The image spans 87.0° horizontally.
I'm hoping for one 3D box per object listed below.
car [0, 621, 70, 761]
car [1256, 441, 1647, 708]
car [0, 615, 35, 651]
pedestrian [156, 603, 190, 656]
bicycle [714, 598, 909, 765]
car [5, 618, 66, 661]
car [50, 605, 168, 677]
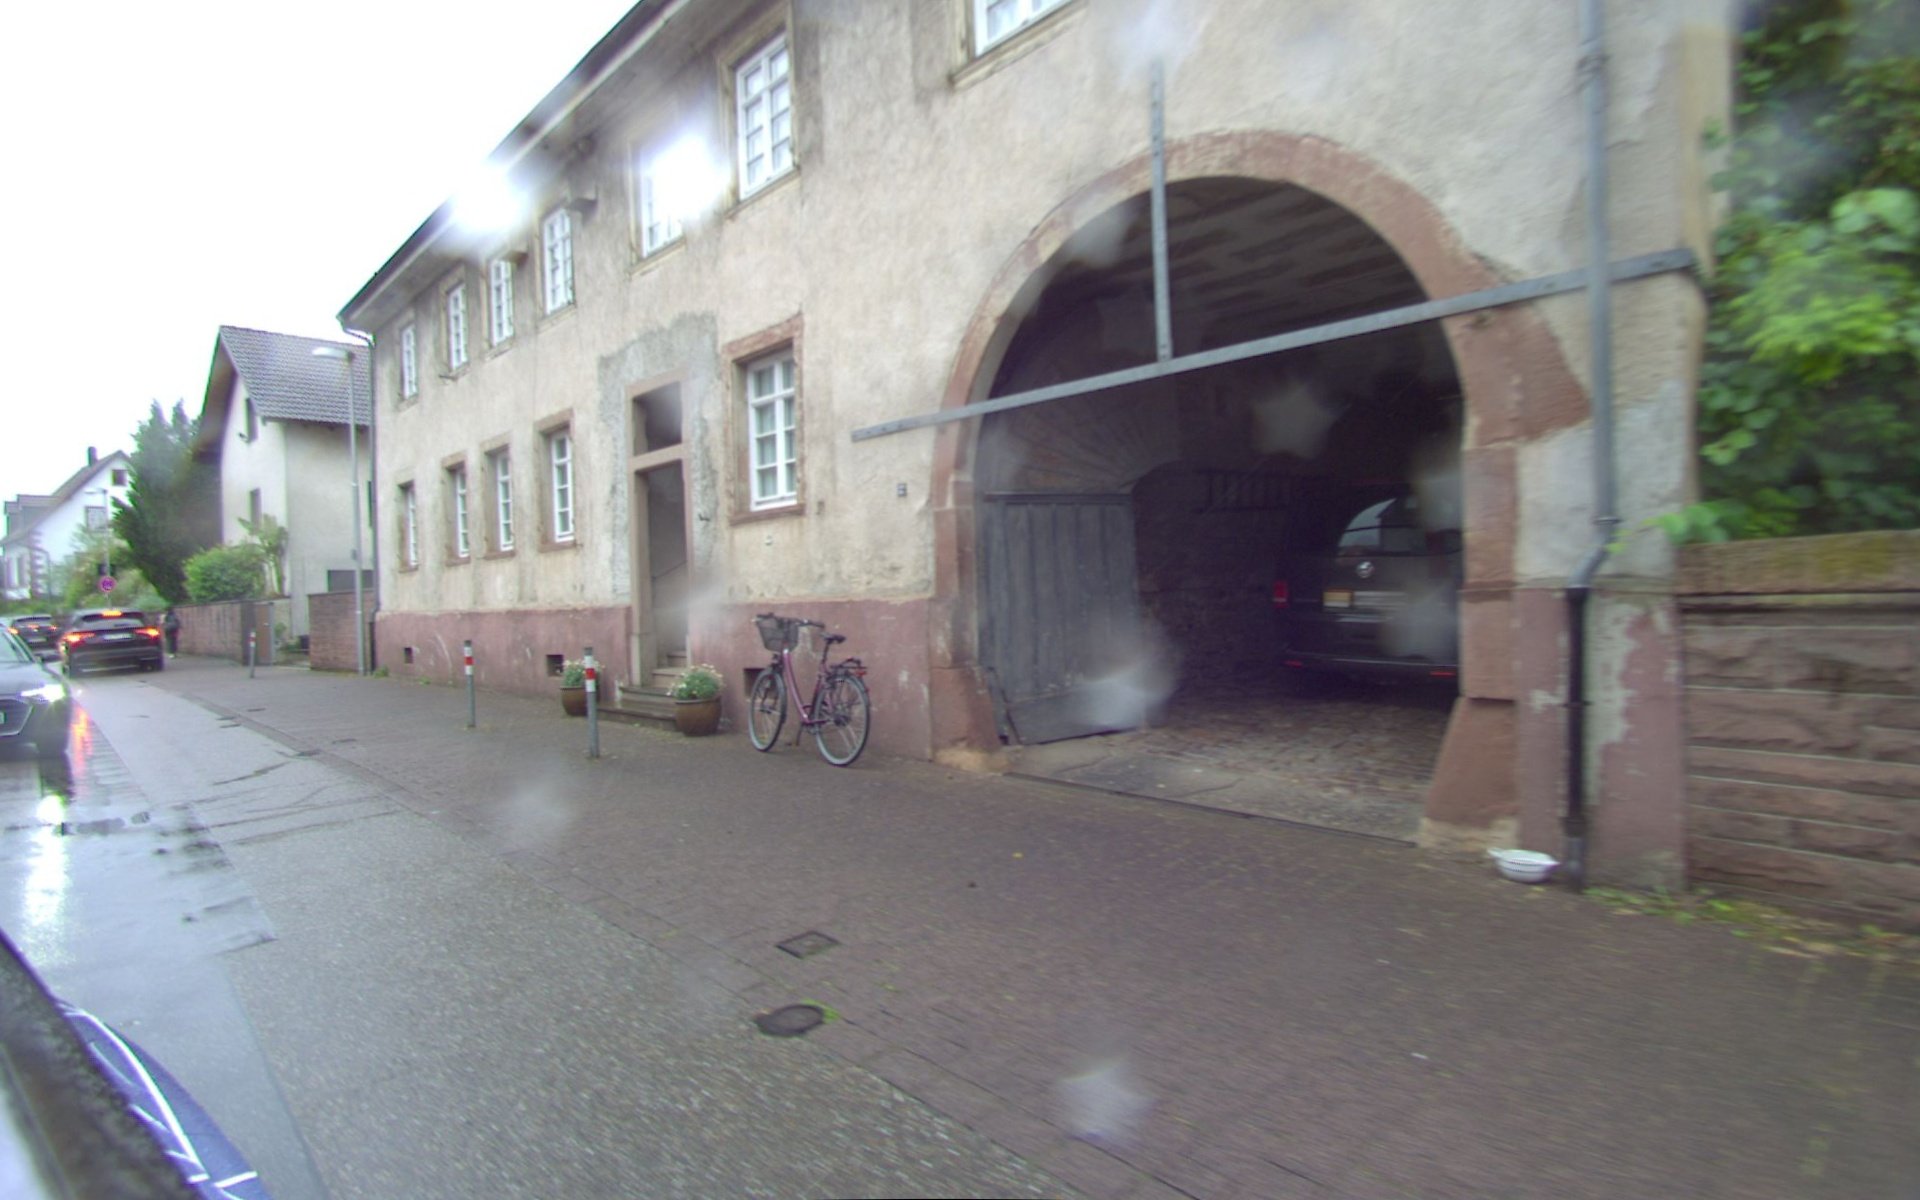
[{"bbox_3d":[-11.277,0.946,11.206,4.102,1.381,1.716,-1,-1,43],"label":"car"},{"bbox_3d":[4.754,-0.379,9.467,4.178,1.946,1.887,-8,5,-44],"label":"car"},{"bbox_3d":[-42.464,1.438,44.989,4.342,1.520,1.677,-1,0,44],"label":"car"},{"bbox_3d":[-23.551,0.873,30.277,0.833,1.550,0.566,-2,2,41],"label":"pedestrian"},{"bbox_3d":[-1.249,0.614,8.176,0.476,1.187,1.875,-5,2,-45],"label":"bicycle"},{"bbox_3d":[-36.199,1.516,39.582,1.586,1.524,3.690,-2,1,-45],"label":"car"},{"bbox_3d":[-21.464,0.969,25.461,4.241,1.567,1.812,-1,2,44],"label":"car"}]
